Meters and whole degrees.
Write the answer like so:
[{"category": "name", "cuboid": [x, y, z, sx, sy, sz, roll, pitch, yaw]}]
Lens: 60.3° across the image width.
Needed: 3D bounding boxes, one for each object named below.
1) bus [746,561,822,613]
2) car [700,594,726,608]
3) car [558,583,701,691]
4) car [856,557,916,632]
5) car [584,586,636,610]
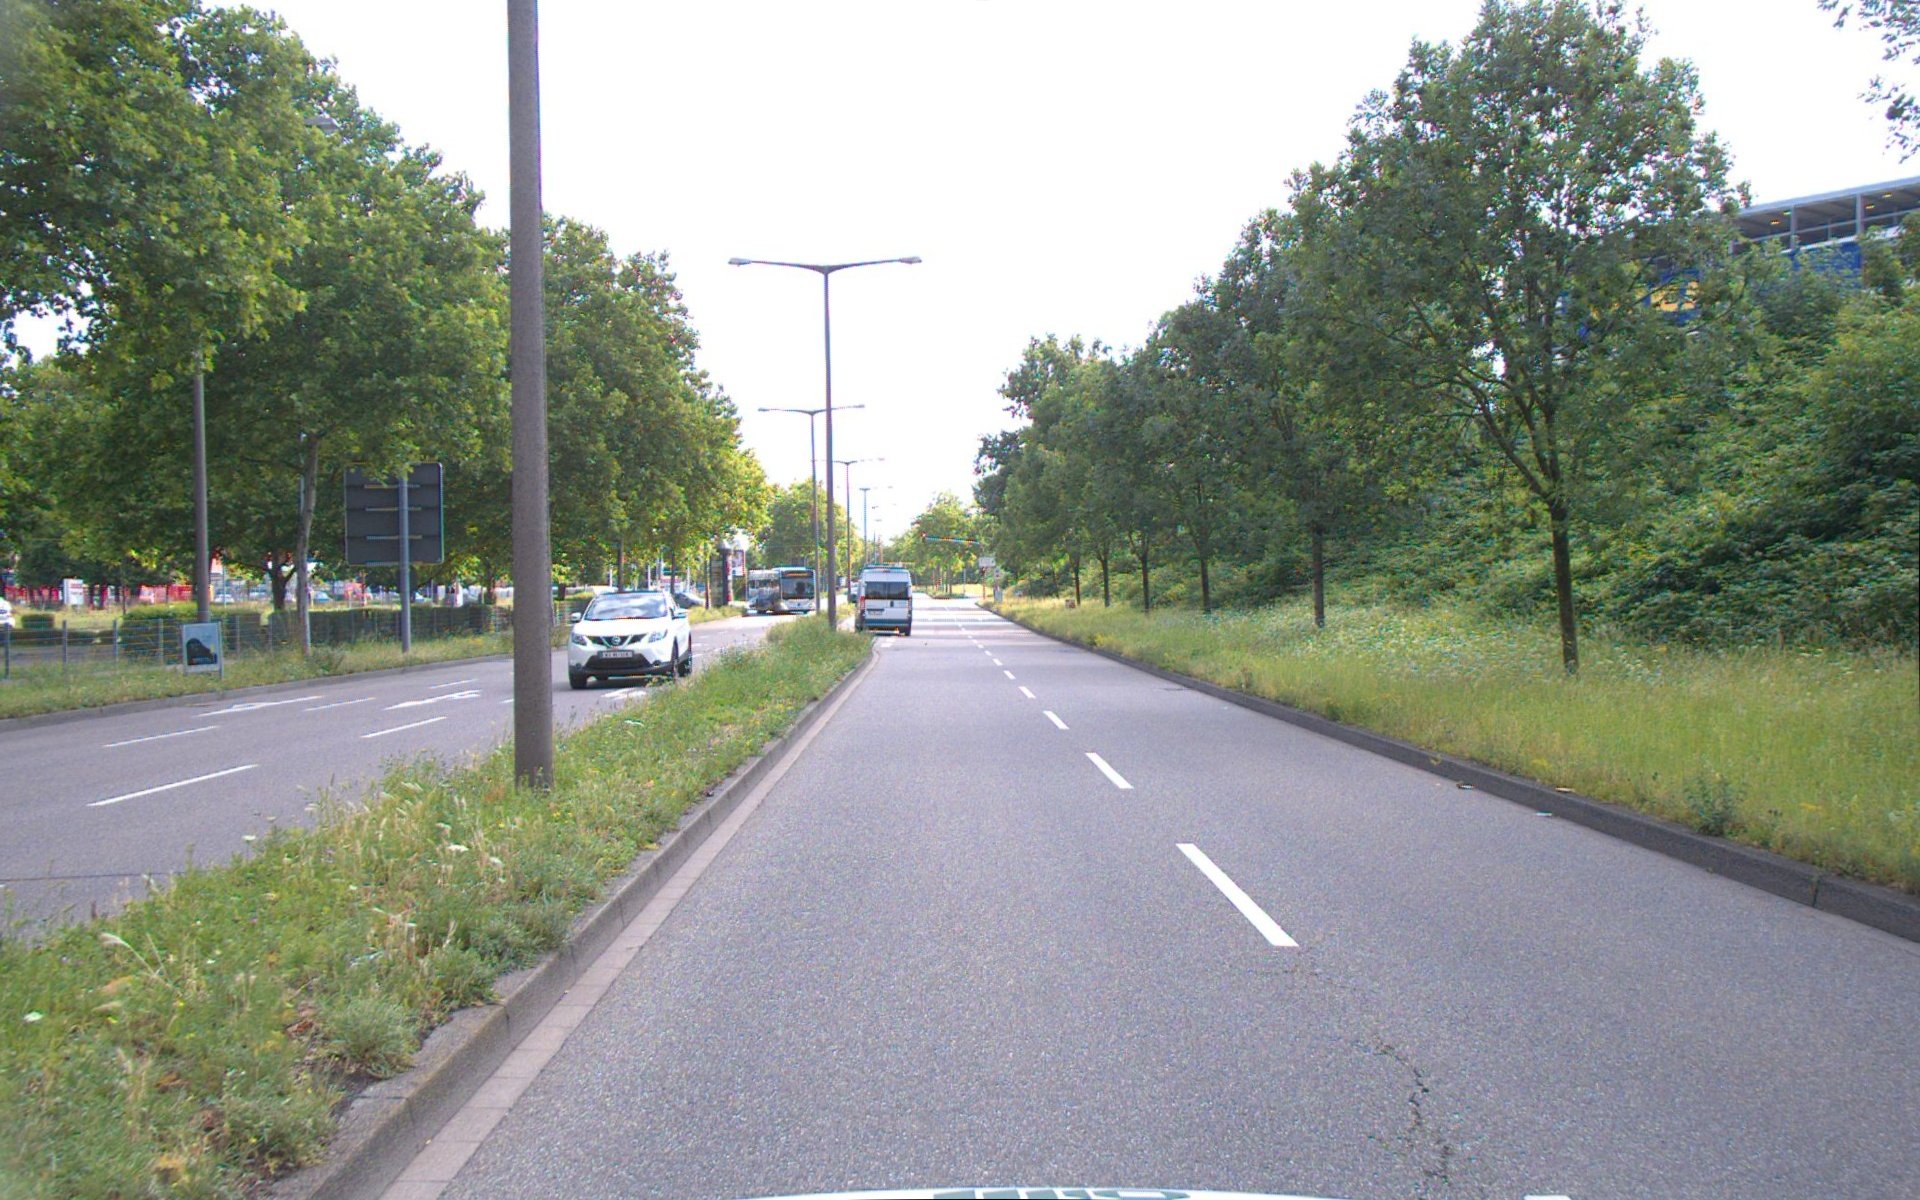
[{"category": "bus", "cuboid": [-12.439, -0.842, 115.530, 3.060, 3.331, 12.280, -2, 0, -16]}, {"category": "car", "cuboid": [-19.365, 0.046, 129.684, 1.527, 1.059, 3.413, -1, 0, -1]}, {"category": "car", "cuboid": [-5.721, 0.594, 29.117, 1.778, 1.668, 4.349, -3, 0, -3]}, {"category": "car", "cuboid": [-2.938, -0.216, 64.545, 2.154, 2.774, 4.927, 1, 0, -5]}, {"category": "car", "cuboid": [-29.730, -0.139, 140.607, 3.964, 1.870, 1.837, 3, -4, -41]}]
